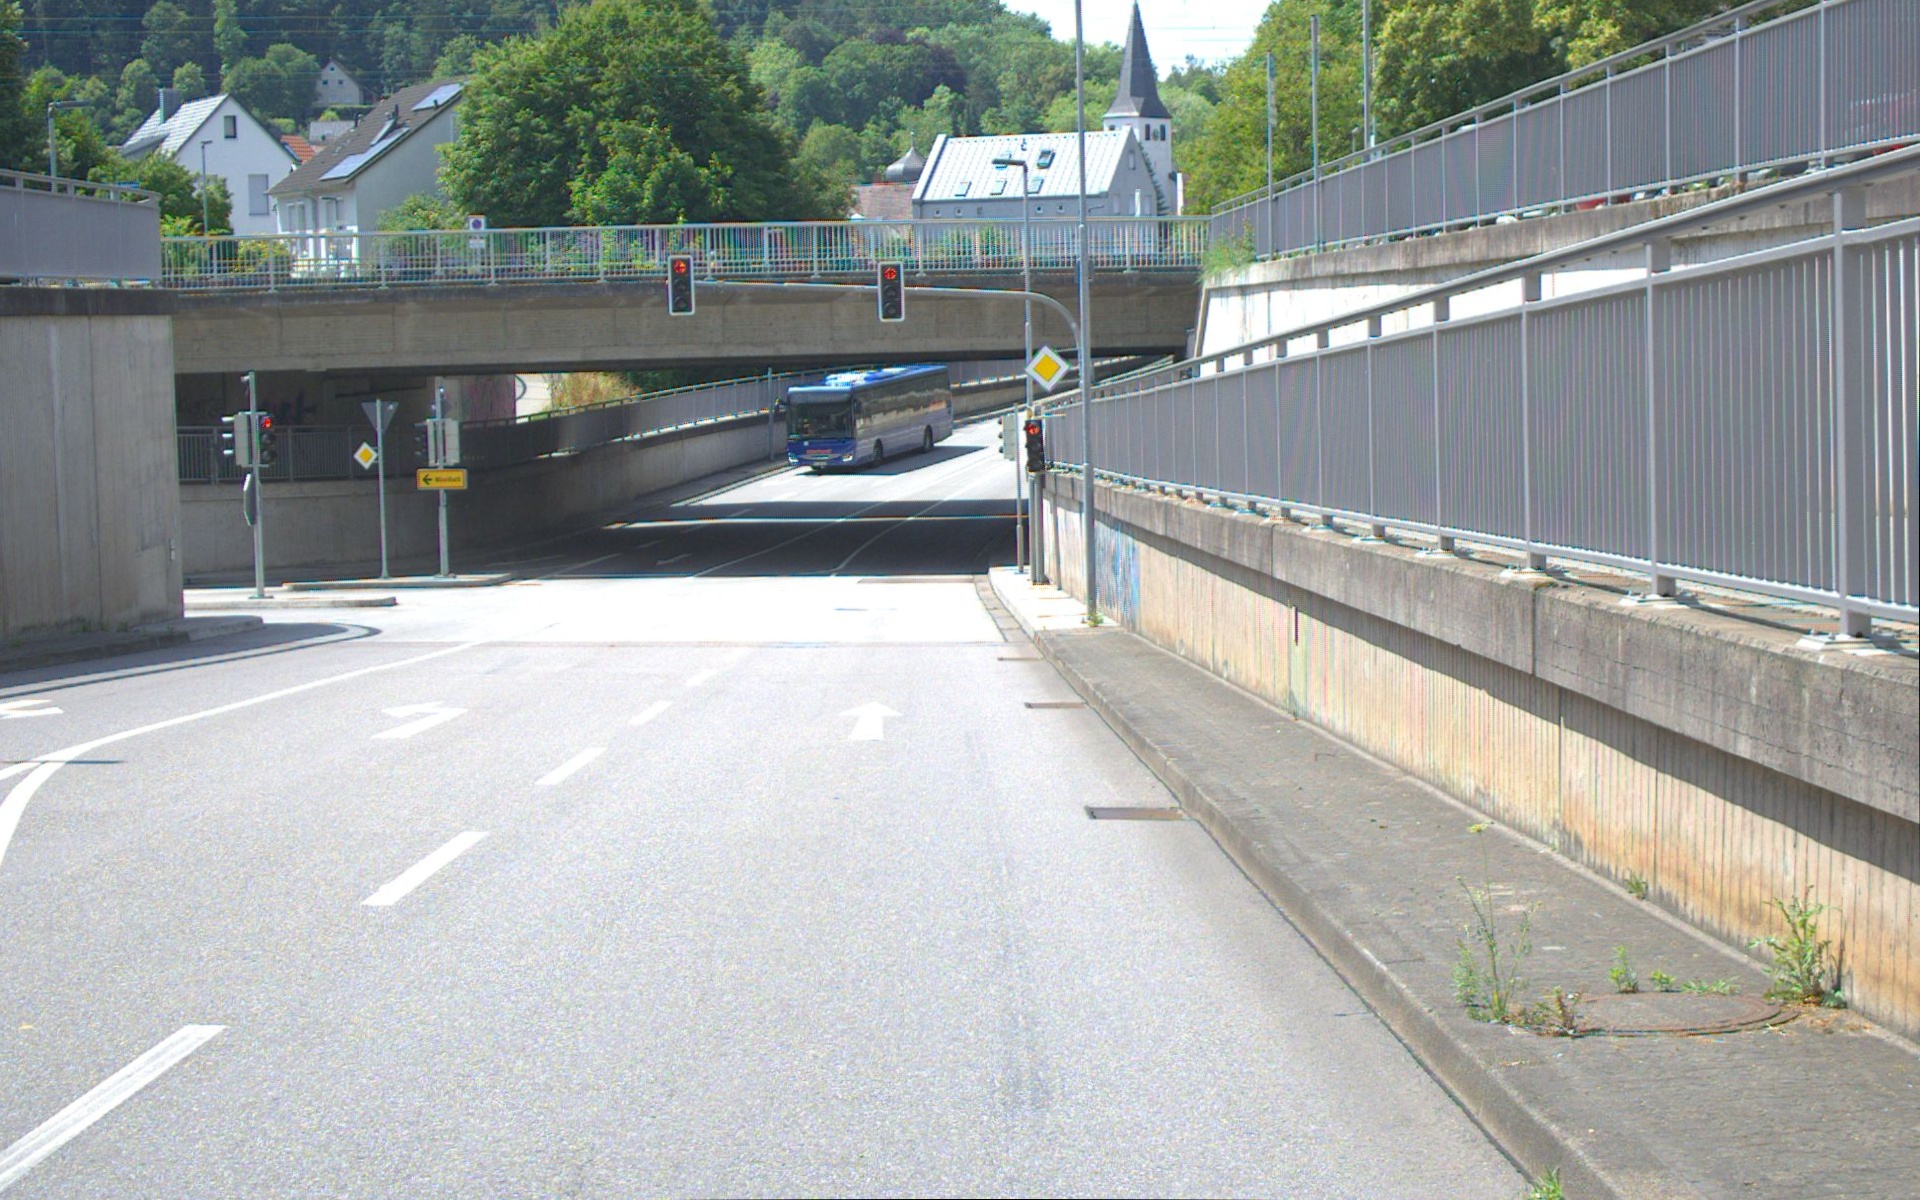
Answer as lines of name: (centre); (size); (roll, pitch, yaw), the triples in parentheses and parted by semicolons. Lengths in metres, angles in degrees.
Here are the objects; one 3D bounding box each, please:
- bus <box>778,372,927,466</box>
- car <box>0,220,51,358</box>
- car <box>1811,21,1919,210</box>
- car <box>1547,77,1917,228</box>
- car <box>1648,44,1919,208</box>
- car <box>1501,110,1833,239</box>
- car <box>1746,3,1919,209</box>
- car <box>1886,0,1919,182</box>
bus: (-3.723, -6.536, 122.978); (2.582, 3.161, 12.373); (0, 4, 11)
car: (-12.667, -3.832, 42.500); (1.902, 1.662, 4.001); (-1, 4, -2)
car: (9.794, -4.308, 30.679); (3.987, 1.481, 1.770); (0, 2, 3)
car: (9.015, -5.238, 40.410); (3.987, 1.562, 1.770); (0, 2, 3)
car: (9.261, -4.885, 35.554); (3.987, 1.481, 1.770); (0, 2, 3)
car: (9.147, -5.512, 44.720); (3.987, 1.481, 1.770); (0, 2, 3)
car: (9.704, -4.706, 32.902); (3.987, 1.764, 1.770); (0, 2, 3)
car: (9.734, -4.232, 27.908); (3.987, 1.481, 1.770); (0, 2, 3)
